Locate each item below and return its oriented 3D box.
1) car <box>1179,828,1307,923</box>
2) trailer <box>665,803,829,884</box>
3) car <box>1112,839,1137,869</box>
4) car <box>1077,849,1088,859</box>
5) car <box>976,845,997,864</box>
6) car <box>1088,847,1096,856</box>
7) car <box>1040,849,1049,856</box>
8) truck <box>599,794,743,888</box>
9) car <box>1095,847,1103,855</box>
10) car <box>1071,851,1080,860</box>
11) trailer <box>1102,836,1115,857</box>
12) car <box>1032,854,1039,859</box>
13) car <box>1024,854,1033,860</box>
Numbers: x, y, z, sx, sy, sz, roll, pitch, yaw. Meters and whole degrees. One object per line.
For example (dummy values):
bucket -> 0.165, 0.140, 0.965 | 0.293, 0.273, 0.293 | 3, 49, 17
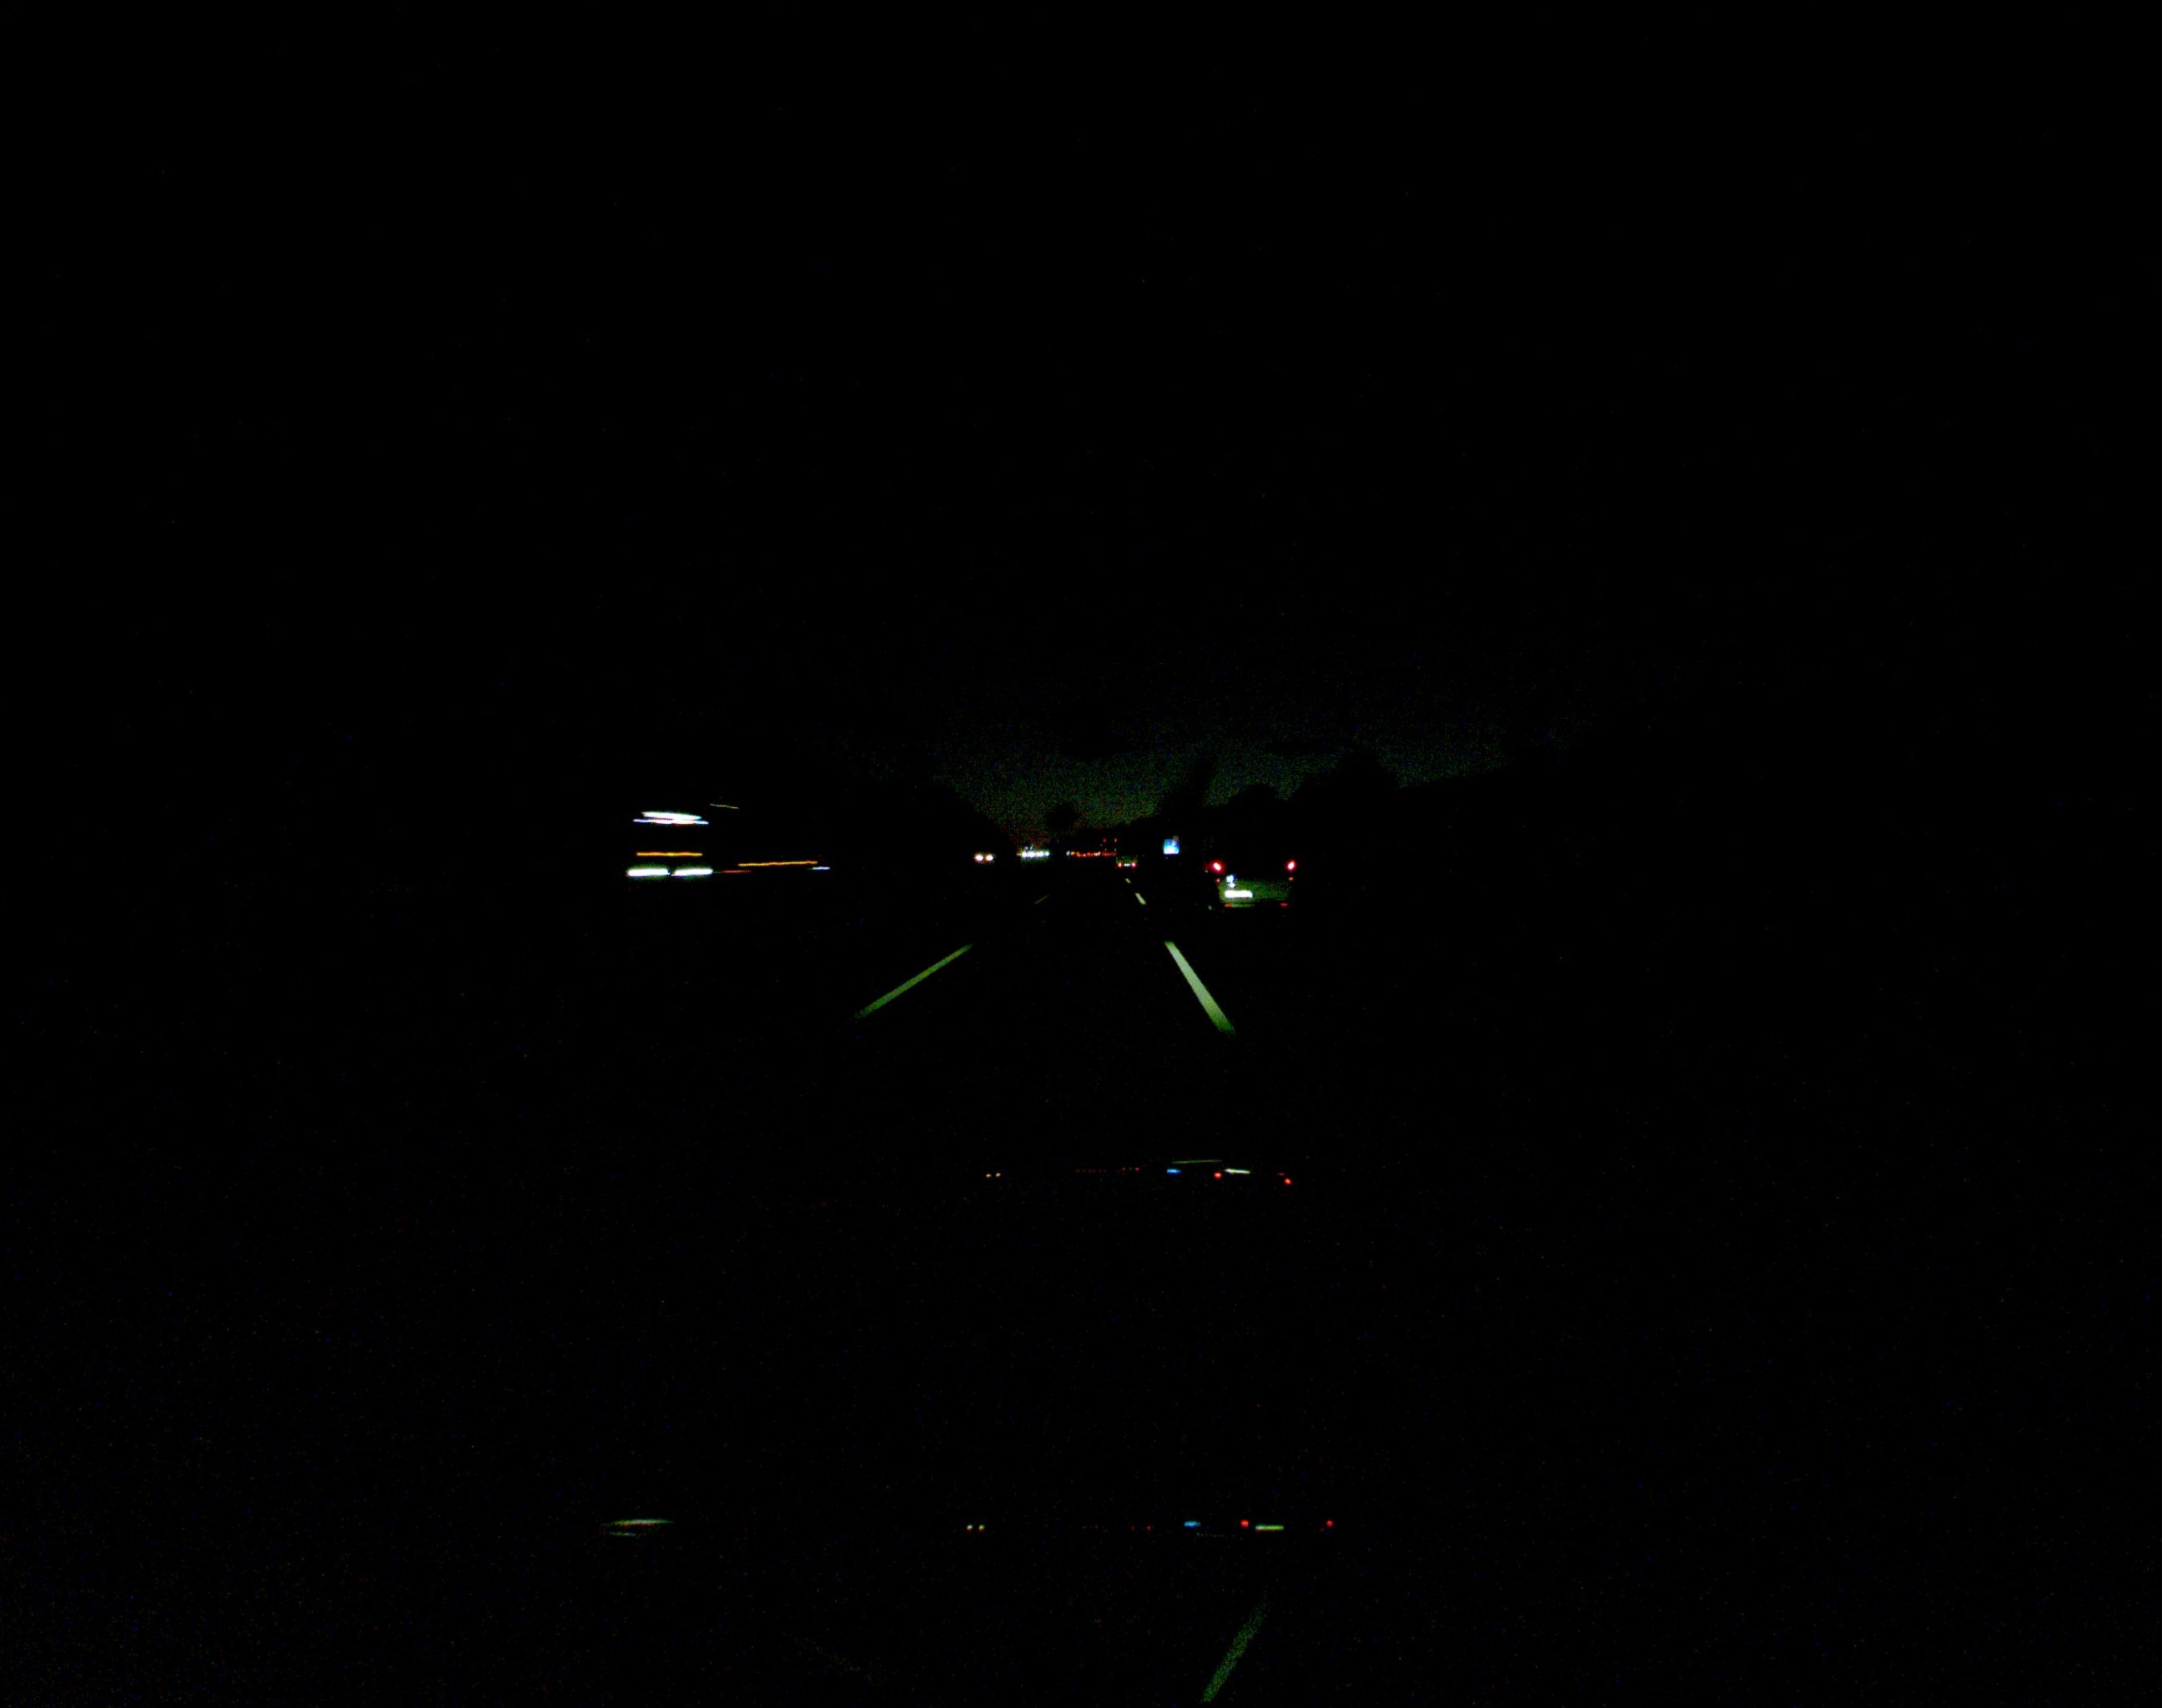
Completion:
car -> 3.793, 0.462, 20.203 | 2.108, 2.001, 5.664 | 0, 0, 0
trailer -> -18.500, -0.500, 46.778 | 3.417, 3.980, 13.815 | 0, 0, 1
car -> 4.068, 0.017, 76.529 | 2.026, 2.647, 5.723 | 0, 0, 0
car -> 0.237, 0.041, 161.145 | 1.988, 1.794, 3.997 | 0, -2, -1
car -> -13.128, 0.020, 113.994 | 2.093, 2.517, 6.217 | 0, 0, 1
car -> 2.570, -0.548, 189.082 | 1.986, 1.794, 4.001 | 0, -2, 2
car -> -9.592, -0.331, 213.195 | 2.003, 1.669, 4.484 | -1, 0, 2
truck -> -18.722, -0.526, 37.740 | 3.418, 3.980, 6.209 | 0, 0, 1
car -> 5.029, -0.852, 225.465 | 1.990, 2.117, 3.994 | 0, -2, -4
car -> -1.304, 0.358, 189.563 | 1.987, 1.816, 3.999 | 0, -2, 0
trailer -> 6.380, -1.600, 187.359 | 2.818, 4.257, 17.054 | 0, -2, 2
car -> -14.145, 0.770, 252.508 | 2.005, 1.669, 4.944 | 0, 0, -2
car -> -13.366, 0.702, 206.261 | 2.004, 1.467, 4.207 | 0, 0, 0
